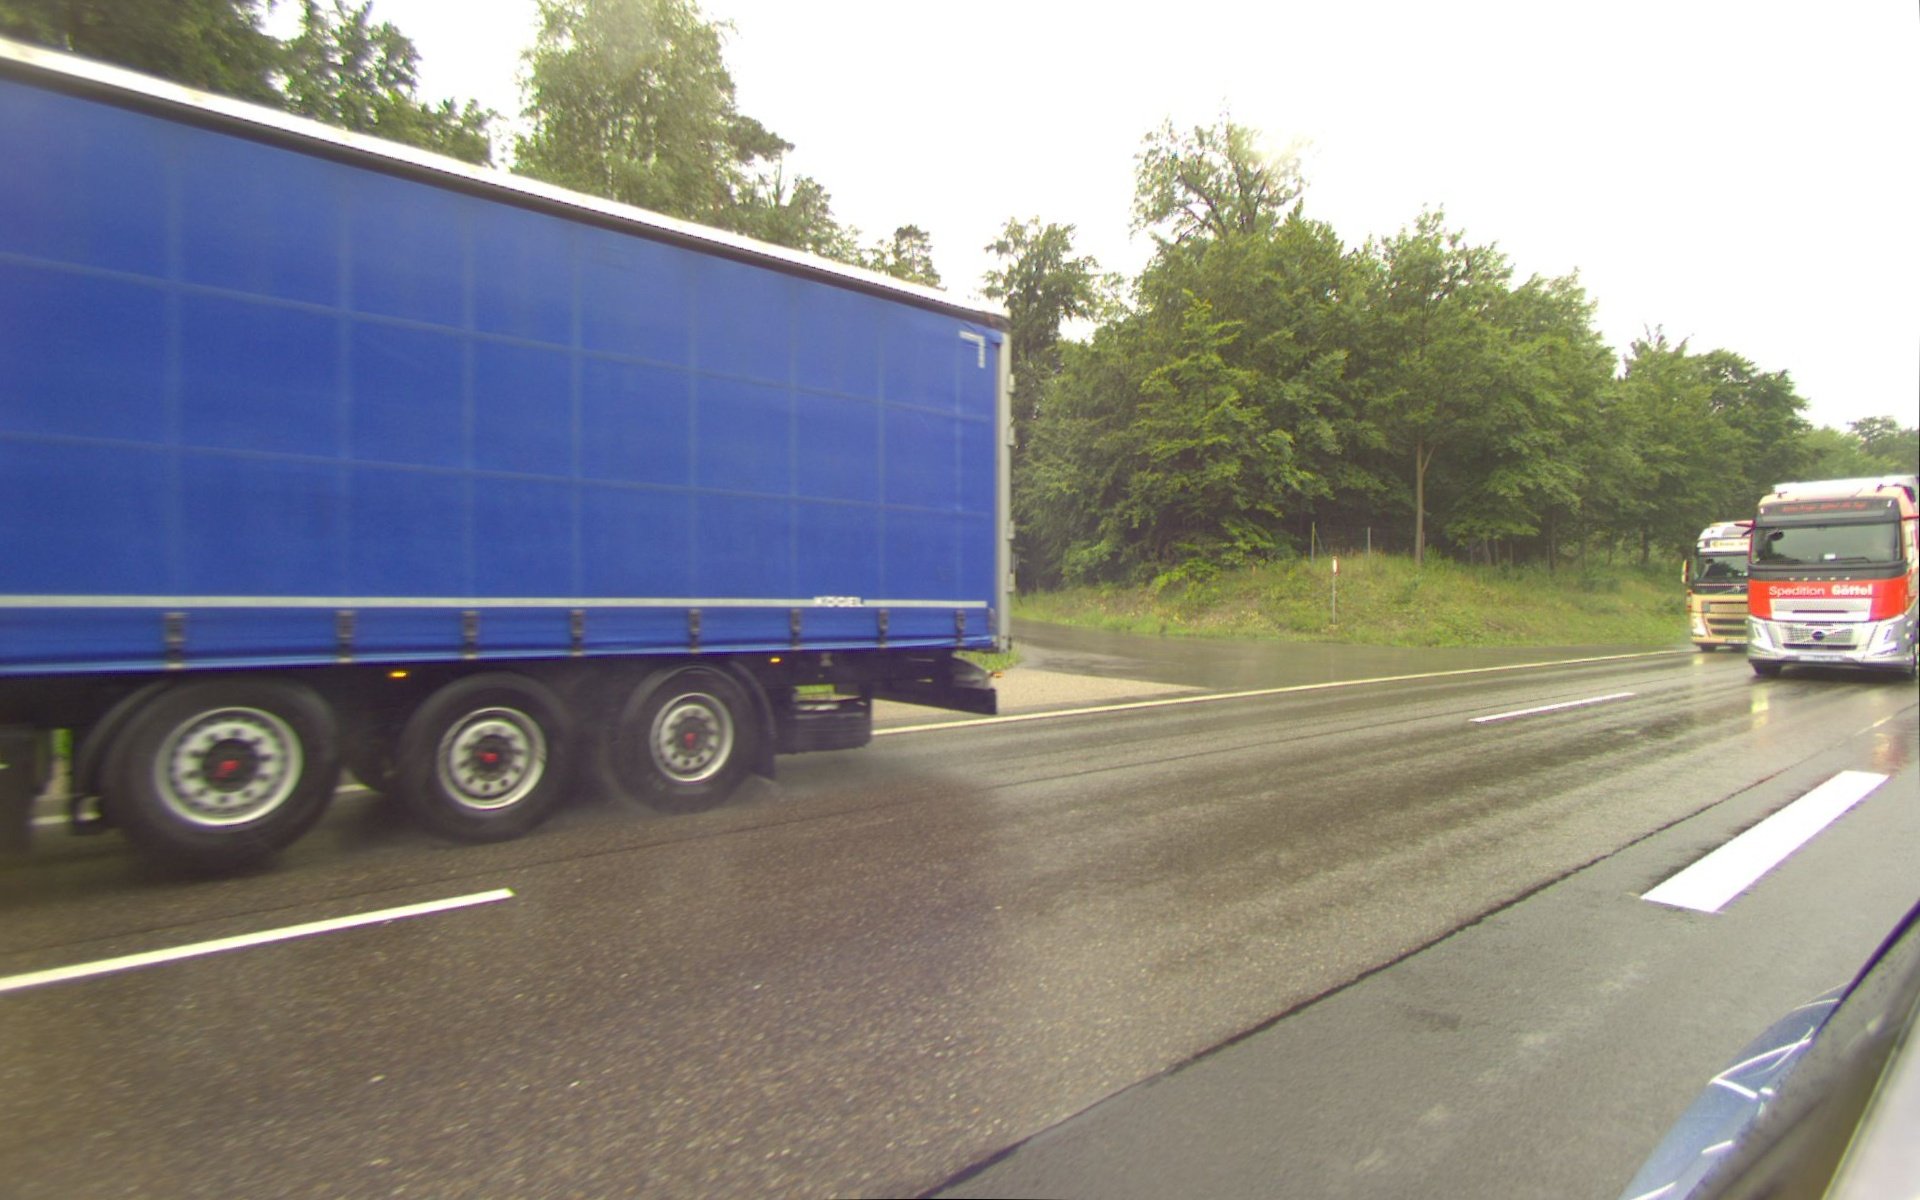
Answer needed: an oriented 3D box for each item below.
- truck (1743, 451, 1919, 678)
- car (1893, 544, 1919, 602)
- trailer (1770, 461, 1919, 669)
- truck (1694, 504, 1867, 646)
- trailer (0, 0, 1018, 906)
[{"bbox_3d":[18.311,-0.648,20.648,5.501,4.007,2.606,0,0,-40],"label":"truck"},{"bbox_3d":[35.578,-0.955,36.772,3.929,2.039,1.997,0,0,-40],"label":"car"},{"bbox_3d":[23.322,-0.706,24.857,14.322,4.007,2.606,0,0,-40],"label":"trailer"},{"bbox_3d":[26.697,-0.738,32.699,9.764,4.007,2.606,0,0,-40],"label":"truck"},{"bbox_3d":[-5.425,-0.675,5.190,13.474,4.064,2.558,0,0,-41],"label":"trailer"}]
